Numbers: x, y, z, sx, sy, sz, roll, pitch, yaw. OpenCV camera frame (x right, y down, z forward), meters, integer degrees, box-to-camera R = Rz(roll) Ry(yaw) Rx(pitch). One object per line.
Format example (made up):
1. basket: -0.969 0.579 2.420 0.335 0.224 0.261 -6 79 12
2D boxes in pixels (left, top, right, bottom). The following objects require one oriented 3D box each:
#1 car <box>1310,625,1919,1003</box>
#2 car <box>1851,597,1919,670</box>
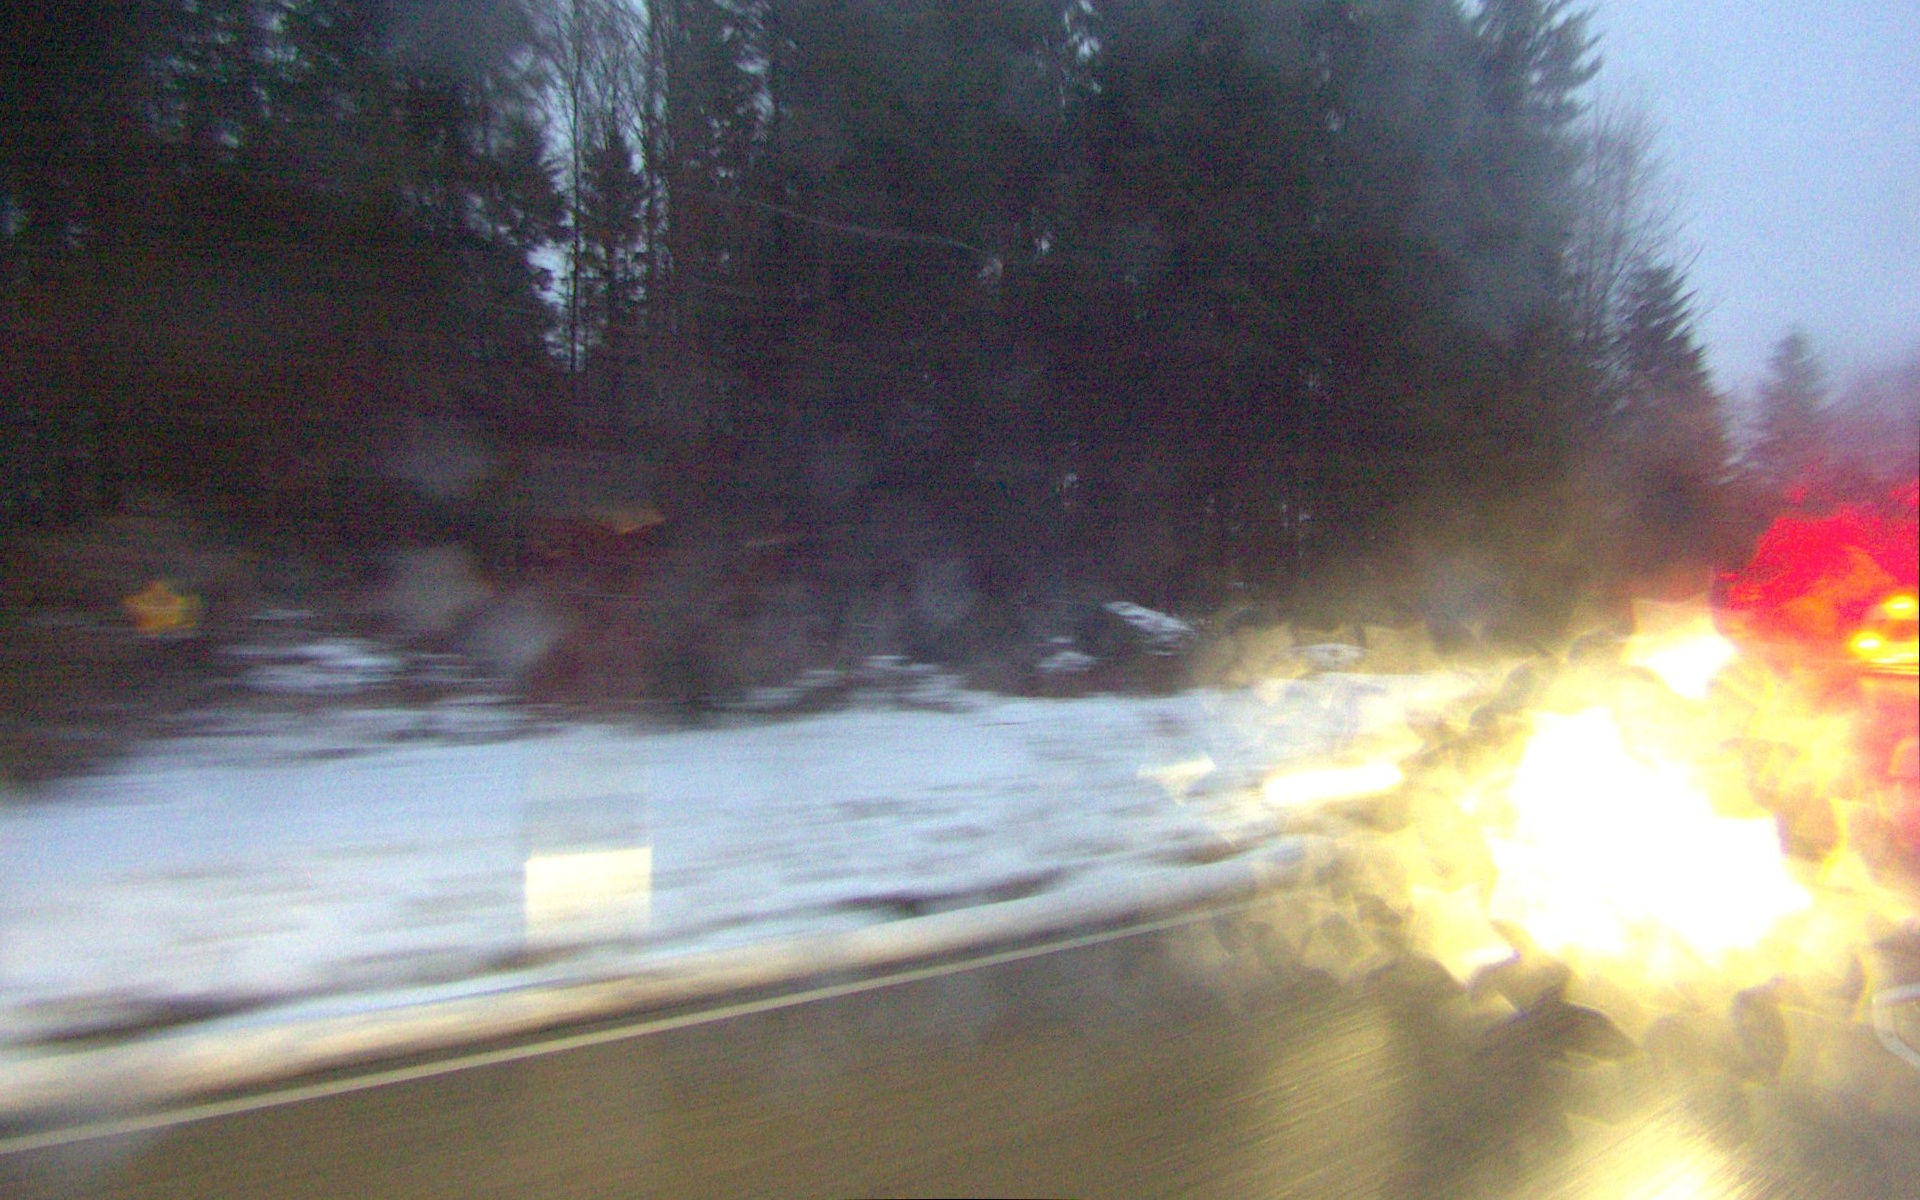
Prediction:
1. car: 4.247 0.922 6.079 4.504 1.512 1.762 1 -2 -35
2. car: 36.457 1.336 39.362 2.227 2.680 4.981 0 -3 41
